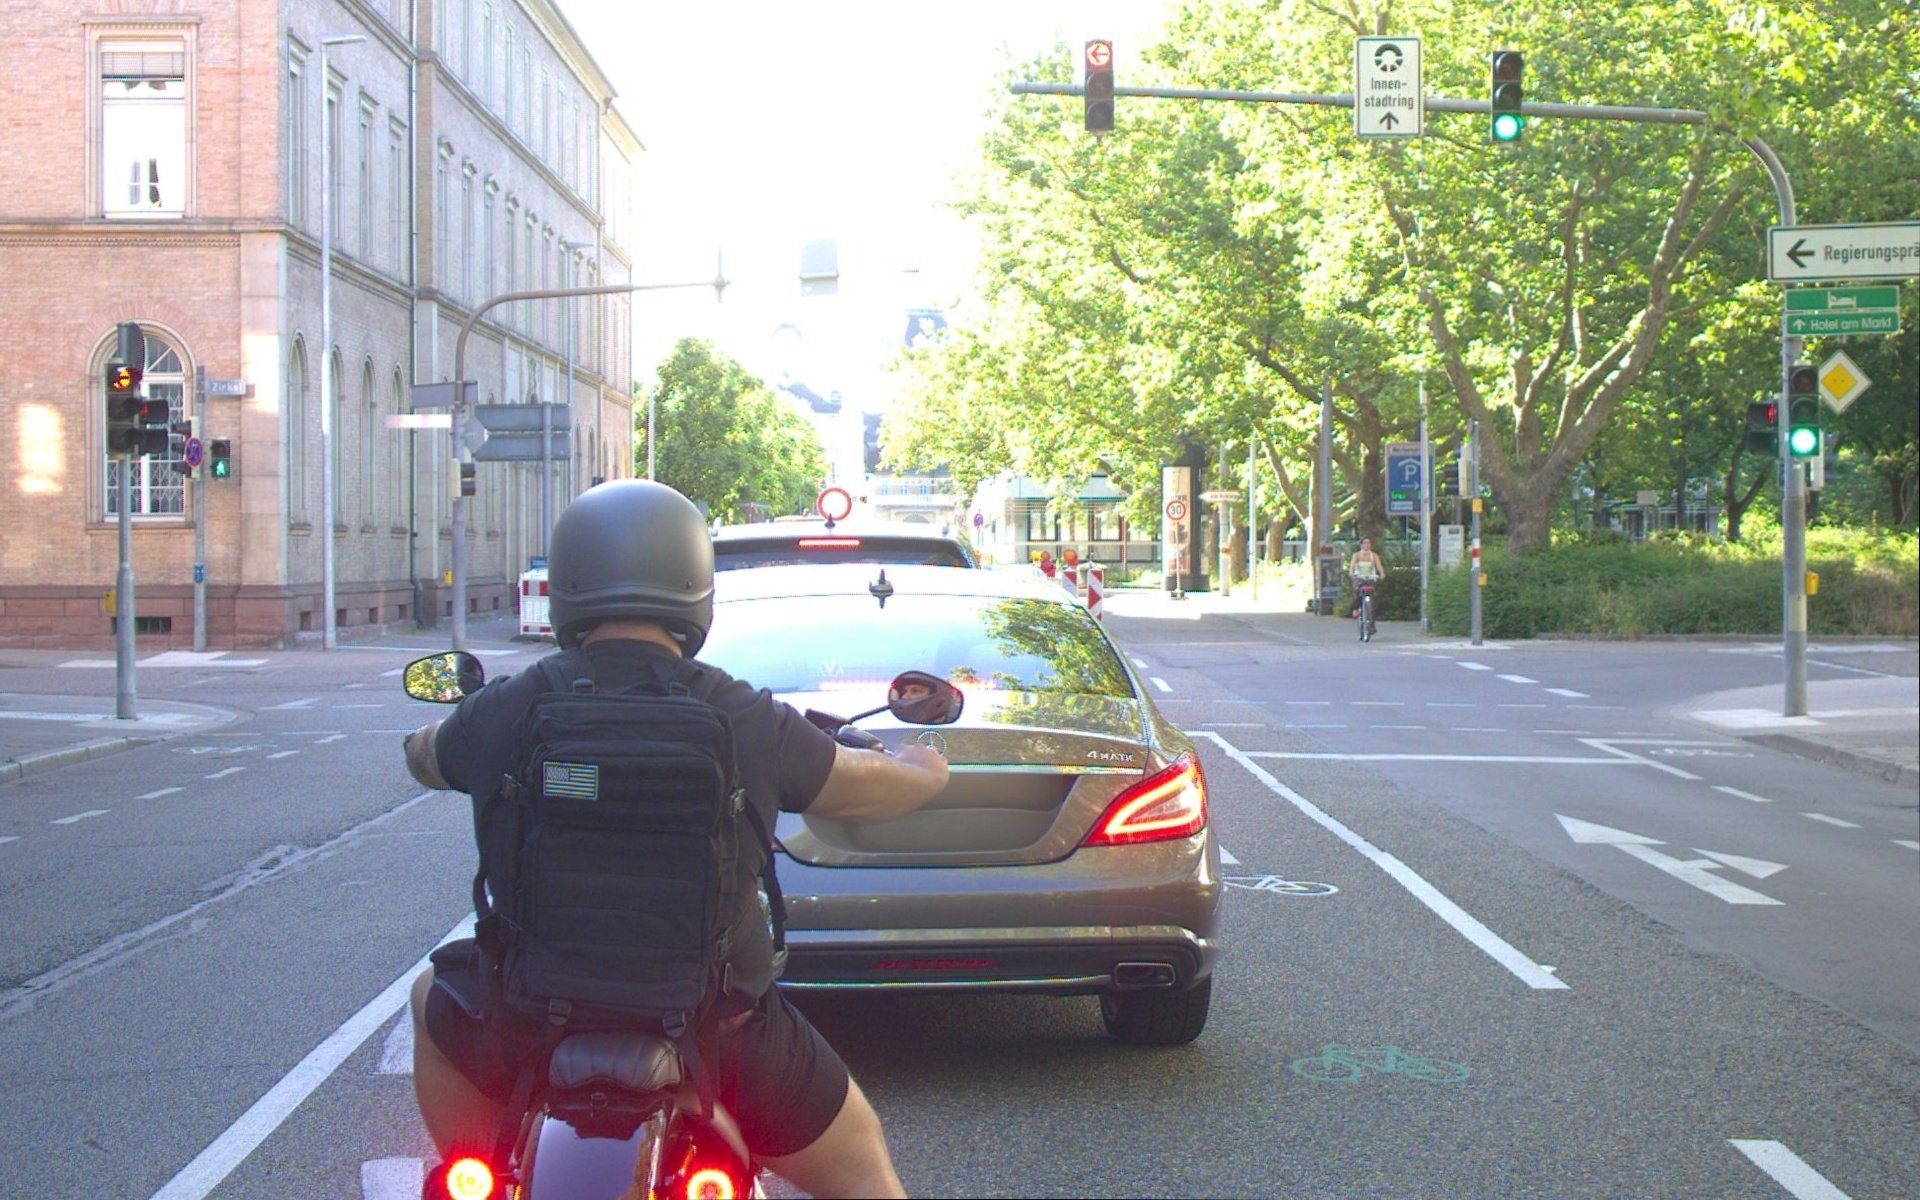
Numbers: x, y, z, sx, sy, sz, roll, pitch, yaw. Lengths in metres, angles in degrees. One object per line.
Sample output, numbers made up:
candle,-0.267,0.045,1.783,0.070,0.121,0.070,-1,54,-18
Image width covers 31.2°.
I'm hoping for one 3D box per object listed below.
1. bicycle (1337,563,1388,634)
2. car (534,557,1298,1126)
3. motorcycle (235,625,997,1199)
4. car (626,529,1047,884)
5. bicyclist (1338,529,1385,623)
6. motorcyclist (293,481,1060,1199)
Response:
bicycle,6.825,-0.033,58.417,0.716,1.168,2.176,1,1,3
car,-0.361,0.592,11.082,1.901,1.436,4.290,0,1,-8
motorcycle,-0.455,0.743,5.540,0.962,1.352,2.320,1,1,-1
car,-0.635,0.423,16.771,1.813,1.530,3.849,0,1,-3
bicyclist,6.820,-0.411,58.389,0.716,1.577,0.936,1,0,4
motorcyclist,-0.406,0.624,5.268,1.061,1.577,0.908,1,0,-1
